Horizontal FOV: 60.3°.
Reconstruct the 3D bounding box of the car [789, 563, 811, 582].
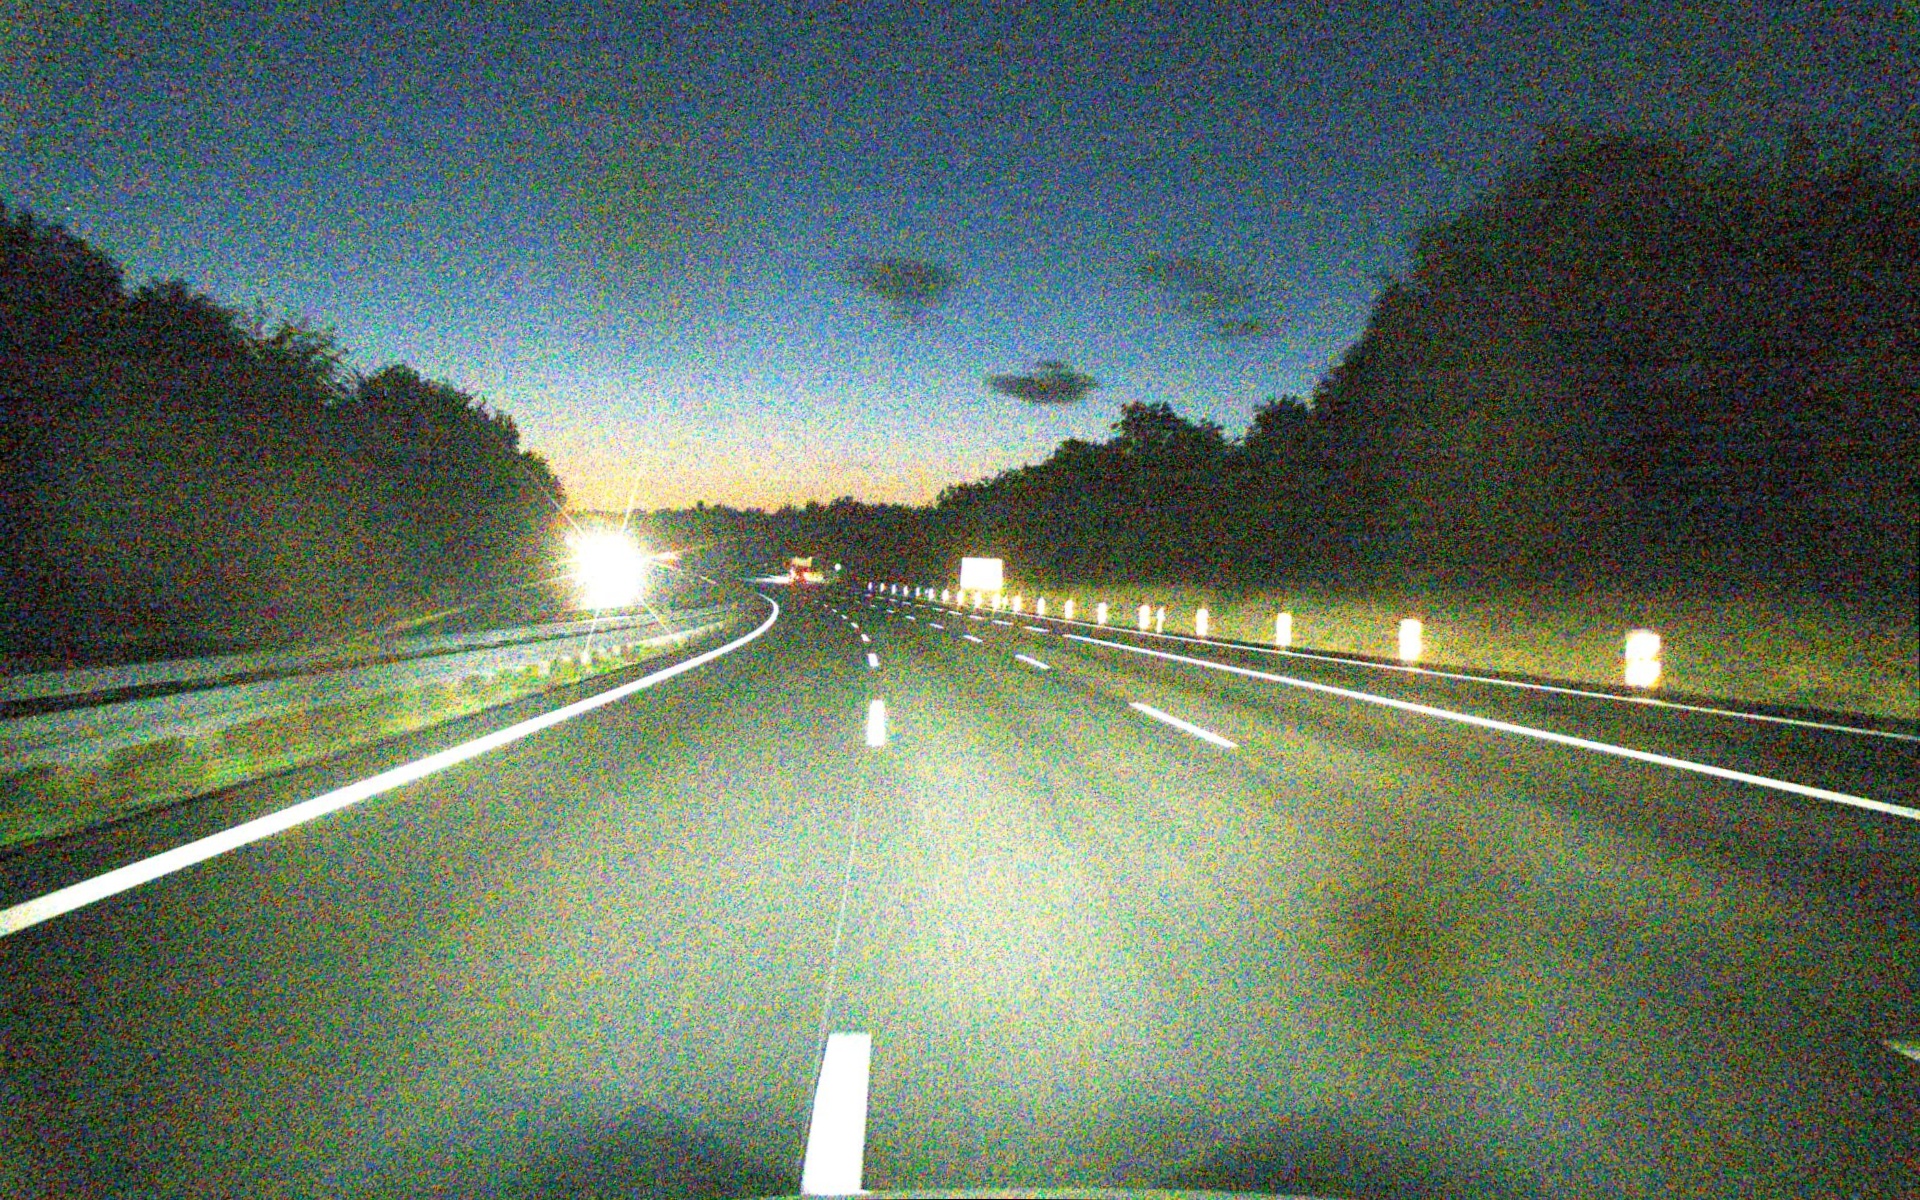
[{"bbox_3d":[-23.123,-3.960,238.749,2.484,2.597,6.033,2,1,-12],"label":"car"}]
